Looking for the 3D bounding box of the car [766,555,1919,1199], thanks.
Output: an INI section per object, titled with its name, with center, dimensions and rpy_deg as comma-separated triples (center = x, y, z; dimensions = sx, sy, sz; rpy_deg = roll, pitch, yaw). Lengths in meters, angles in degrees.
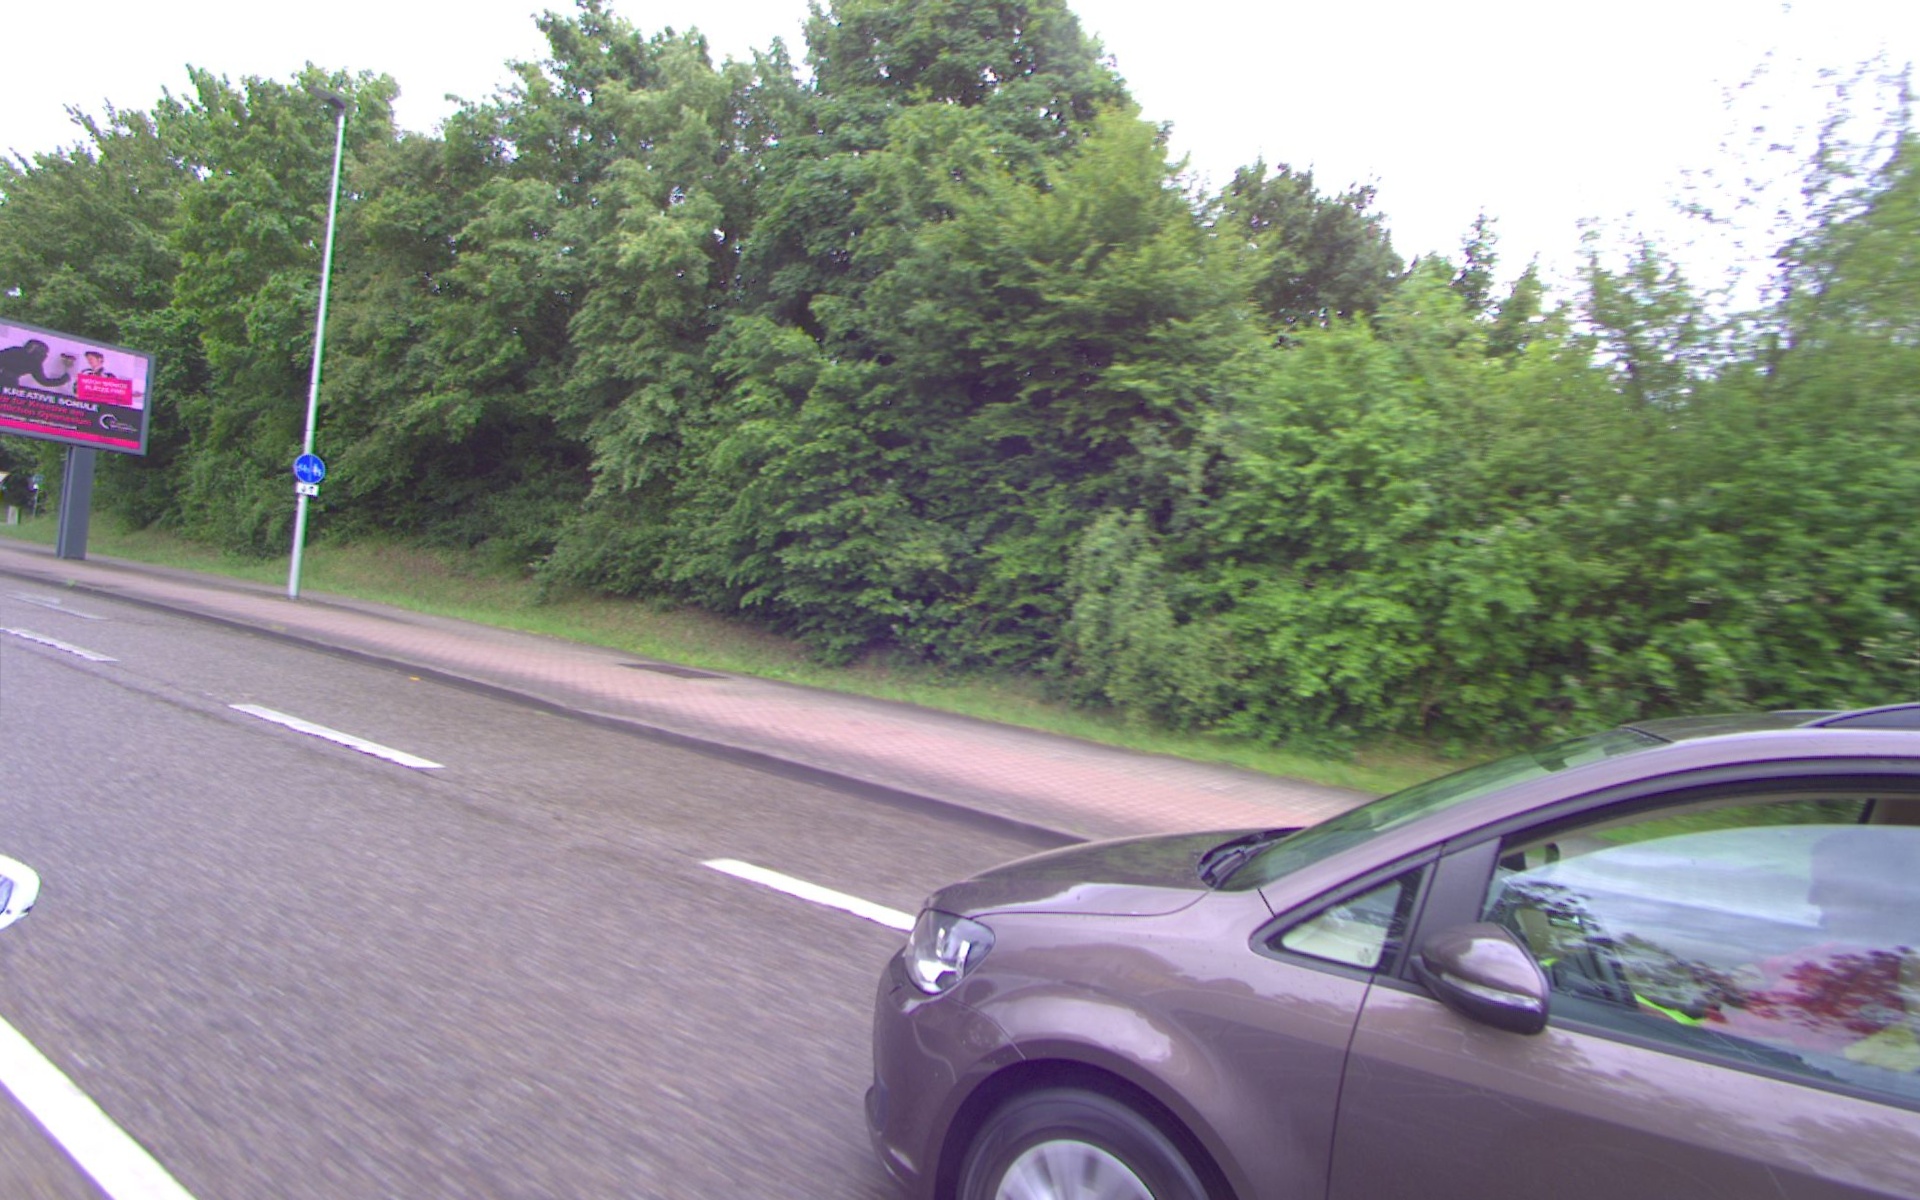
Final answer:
[car]
center = 1.789, 0.986, 2.039
dimensions = 4.061, 1.615, 1.717
rpy_deg = 7, -1, 31
